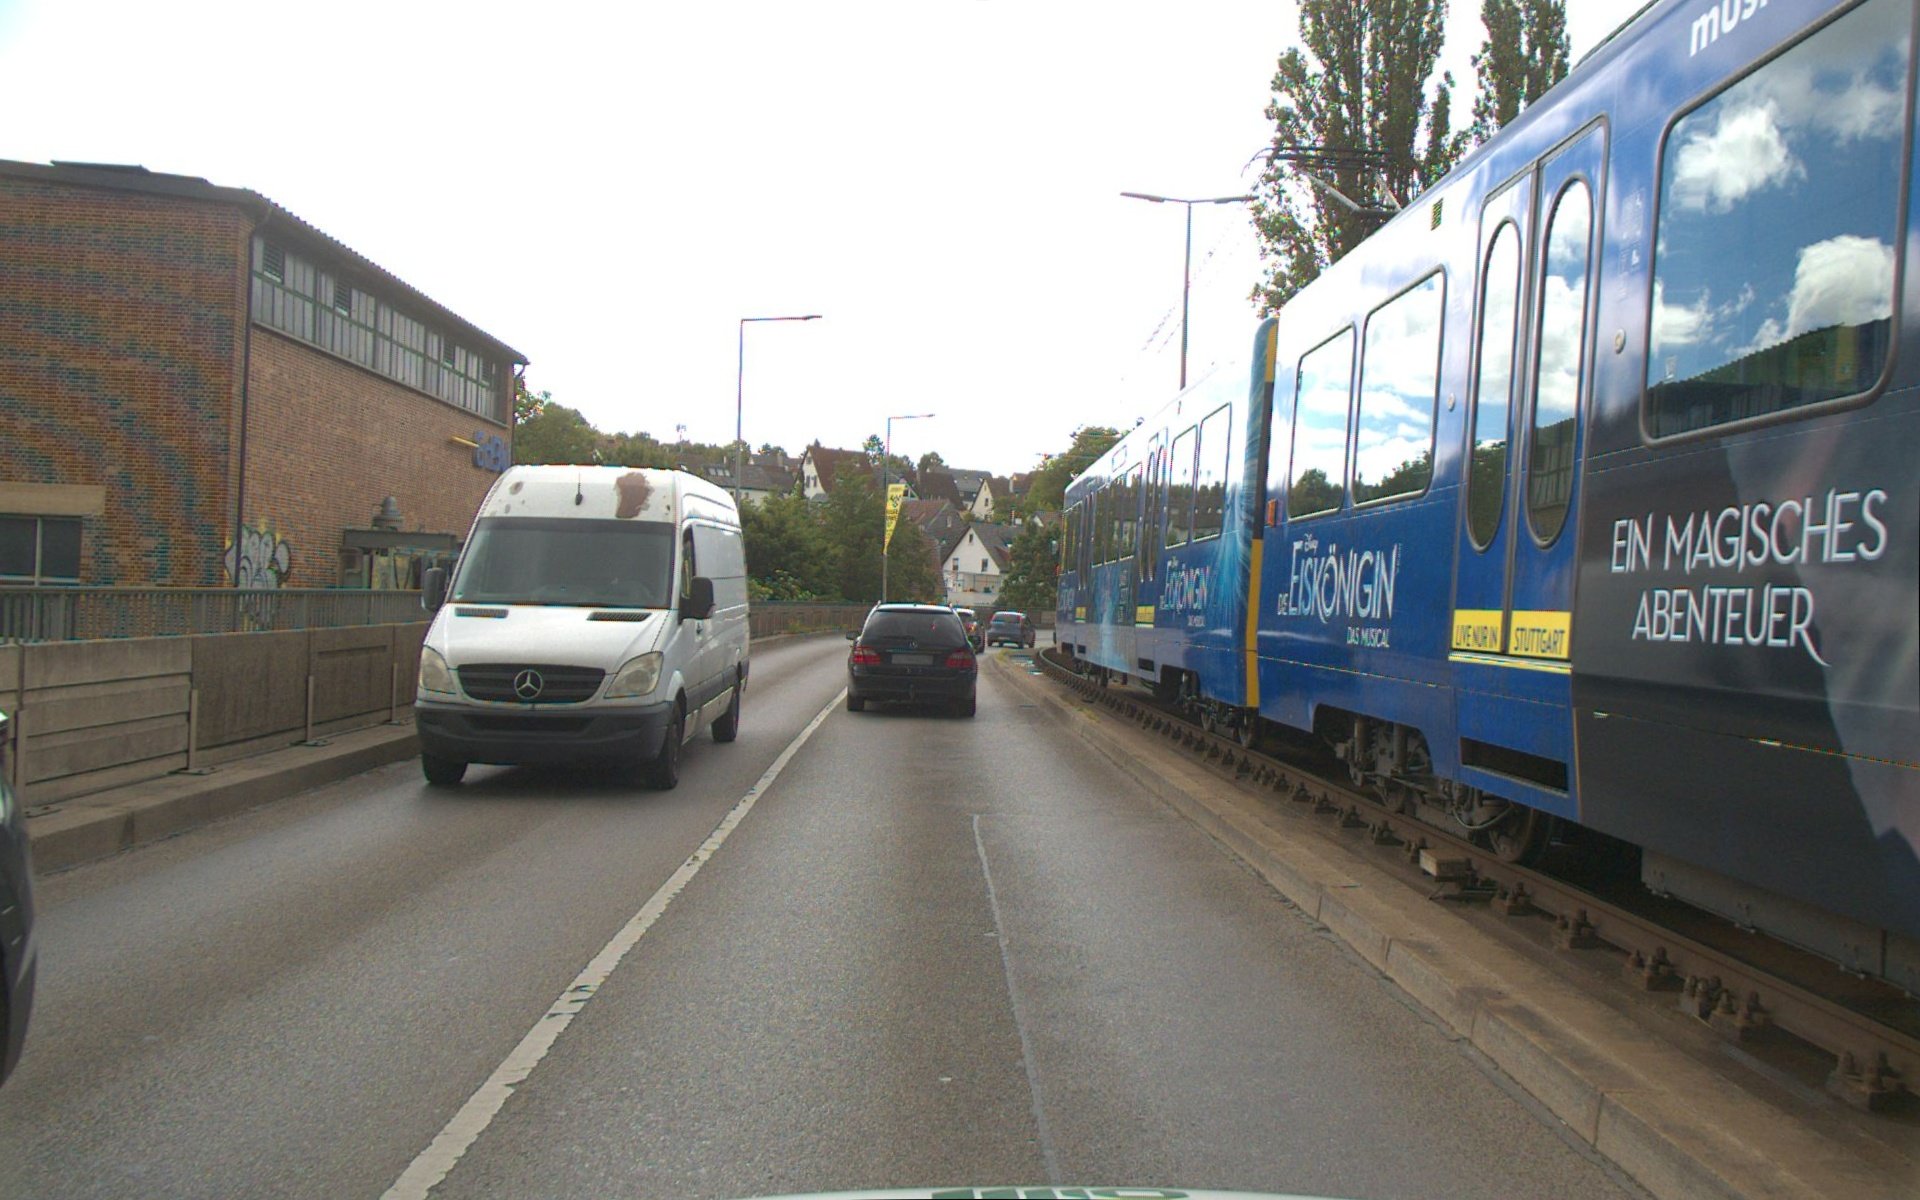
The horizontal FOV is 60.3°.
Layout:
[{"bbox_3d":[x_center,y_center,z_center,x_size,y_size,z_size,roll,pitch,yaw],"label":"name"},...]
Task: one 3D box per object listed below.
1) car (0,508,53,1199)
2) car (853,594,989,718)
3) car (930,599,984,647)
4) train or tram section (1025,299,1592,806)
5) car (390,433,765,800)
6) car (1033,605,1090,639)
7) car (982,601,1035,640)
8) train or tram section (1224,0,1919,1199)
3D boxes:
[{"bbox_3d":[-3.018,0.648,2.038,1.681,1.674,3.999,0,1,-2],"label":"car"},{"bbox_3d":[-0.586,0.719,23.727,1.723,1.542,4.440,2,0,-2],"label":"car"},{"bbox_3d":[-0.078,0.789,58.861,1.733,1.582,4.242,0,0,2],"label":"car"},{"bbox_3d":[3.112,-0.321,22.757,2.737,3.830,19.882,2,0,-2],"label":"train or tram section"},{"bbox_3d":[-3.154,0.081,15.365,1.992,2.606,7.006,1,1,-1],"label":"car"},{"bbox_3d":[5.121,1.107,83.176,1.734,1.582,4.241,2,0,19],"label":"car"},{"bbox_3d":[2.135,0.876,71.751,1.754,1.582,4.388,1,0,8],"label":"car"},{"bbox_3d":[3.711,-0.403,2.910,2.728,3.720,19.885,0,0,-2],"label":"train or tram section"}]
